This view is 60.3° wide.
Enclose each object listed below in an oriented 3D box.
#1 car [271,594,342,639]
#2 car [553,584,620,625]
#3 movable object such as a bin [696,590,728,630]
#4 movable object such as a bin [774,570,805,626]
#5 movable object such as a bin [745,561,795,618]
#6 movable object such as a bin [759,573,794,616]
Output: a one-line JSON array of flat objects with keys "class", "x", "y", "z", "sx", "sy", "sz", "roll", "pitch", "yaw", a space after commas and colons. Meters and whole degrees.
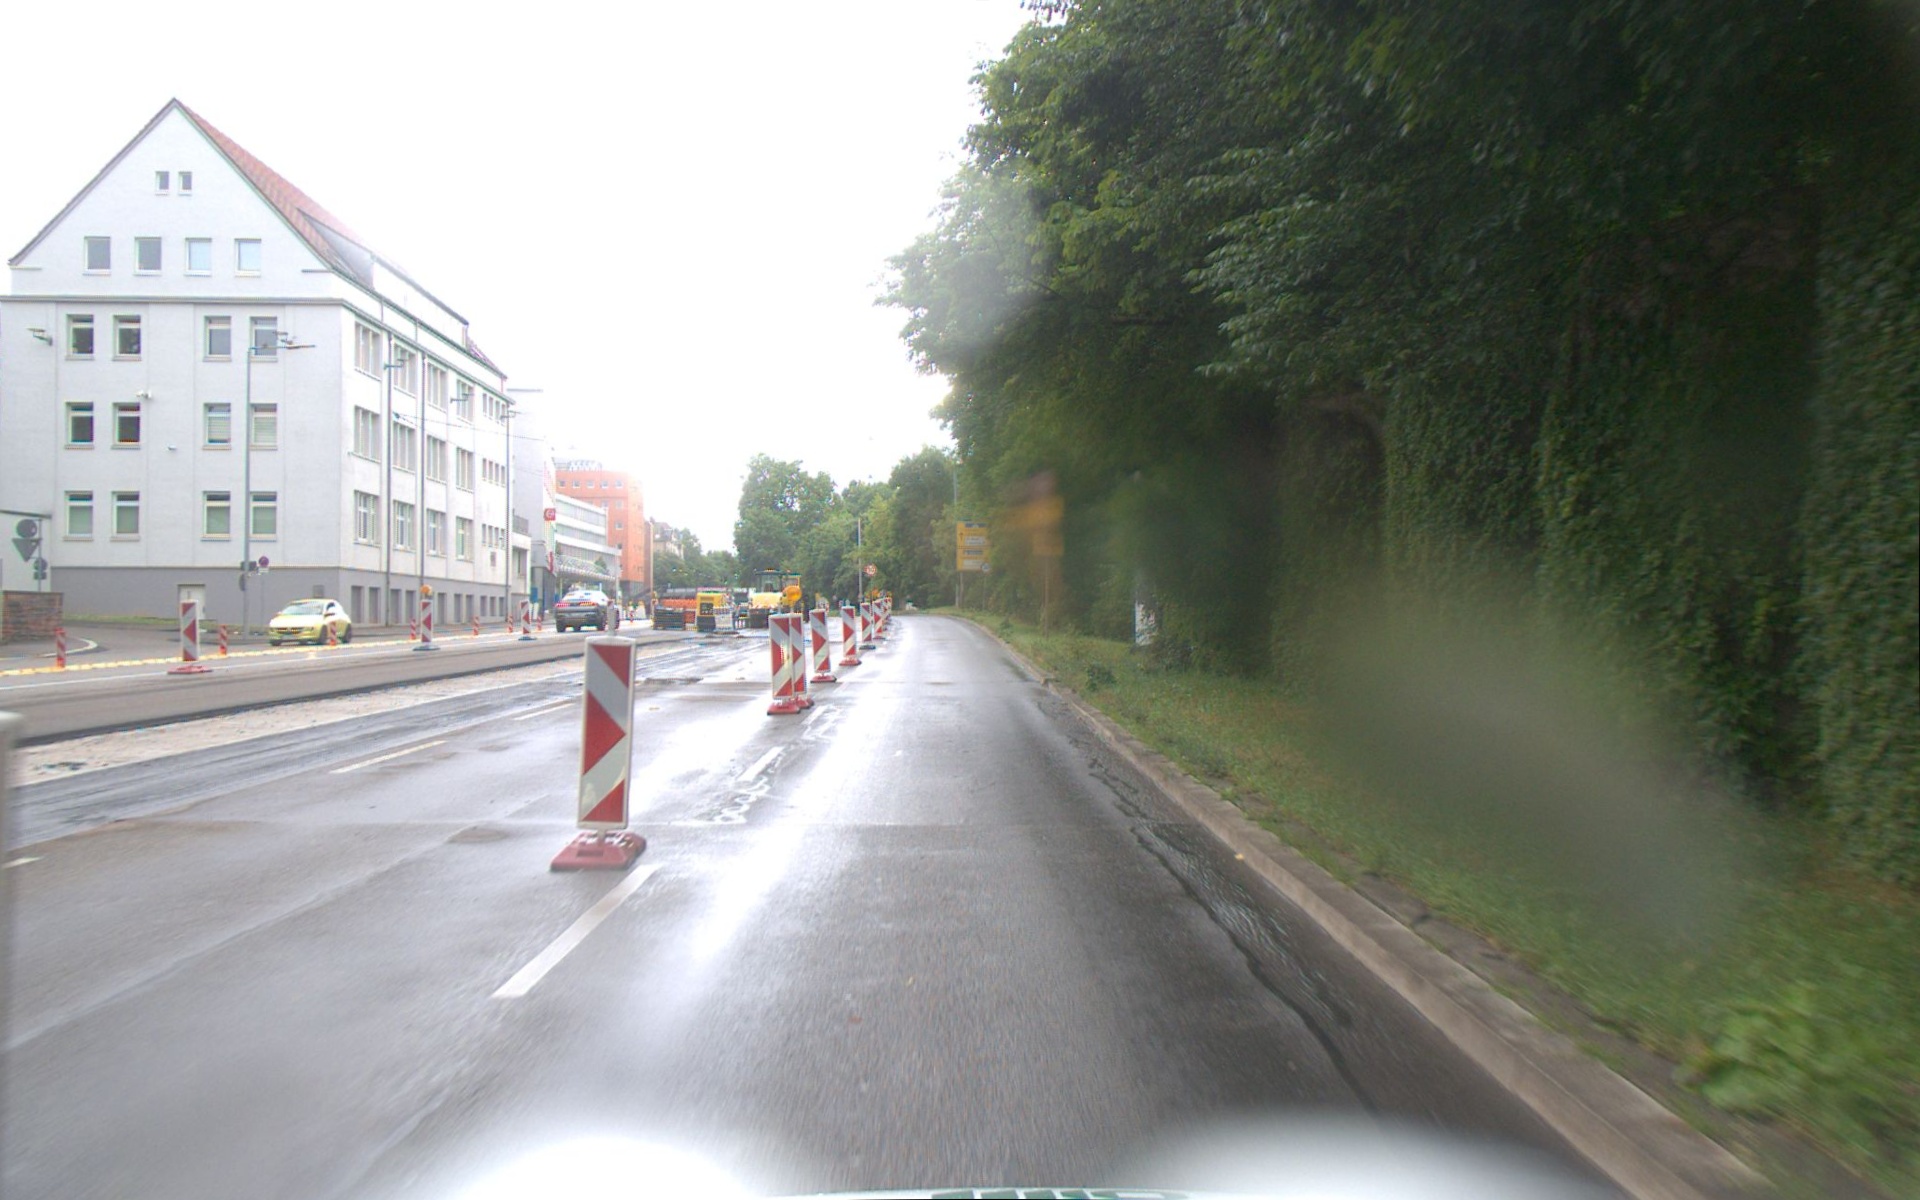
[{"class": "car", "x": -21.594, "y": 0.524, "z": 54.747, "sx": 1.526, "sy": 1.392, "sz": 3.793, "roll": -2, "pitch": 0, "yaw": -12}, {"class": "car", "x": -15.906, "y": 0.193, "z": 70.658, "sx": 1.854, "sy": 1.679, "sz": 4.395, "roll": 0, "pitch": 0, "yaw": 0}, {"class": "movable object such as a bin", "x": -10.672, "y": 0.413, "z": 71.345, "sx": 1.061, "sy": 1.673, "sz": 2.438, "roll": 0, "pitch": 0, "yaw": -2}, {"class": "movable object such as a bin", "x": -9.816, "y": -0.114, "z": 95.224, "sx": 1.436, "sy": 3.061, "sz": 3.722, "roll": -2, "pitch": 0, "yaw": -3}, {"class": "movable object such as a bin", "x": -9.119, "y": -0.505, "z": 79.822, "sx": 1.863, "sy": 2.654, "sz": 5.381, "roll": -1, "pitch": 0, "yaw": -1}, {"class": "movable object such as a bin", "x": -9.456, "y": -0.278, "z": 85.505, "sx": 1.335, "sy": 2.126, "sz": 5.029, "roll": -1, "pitch": 0, "yaw": -1}]
